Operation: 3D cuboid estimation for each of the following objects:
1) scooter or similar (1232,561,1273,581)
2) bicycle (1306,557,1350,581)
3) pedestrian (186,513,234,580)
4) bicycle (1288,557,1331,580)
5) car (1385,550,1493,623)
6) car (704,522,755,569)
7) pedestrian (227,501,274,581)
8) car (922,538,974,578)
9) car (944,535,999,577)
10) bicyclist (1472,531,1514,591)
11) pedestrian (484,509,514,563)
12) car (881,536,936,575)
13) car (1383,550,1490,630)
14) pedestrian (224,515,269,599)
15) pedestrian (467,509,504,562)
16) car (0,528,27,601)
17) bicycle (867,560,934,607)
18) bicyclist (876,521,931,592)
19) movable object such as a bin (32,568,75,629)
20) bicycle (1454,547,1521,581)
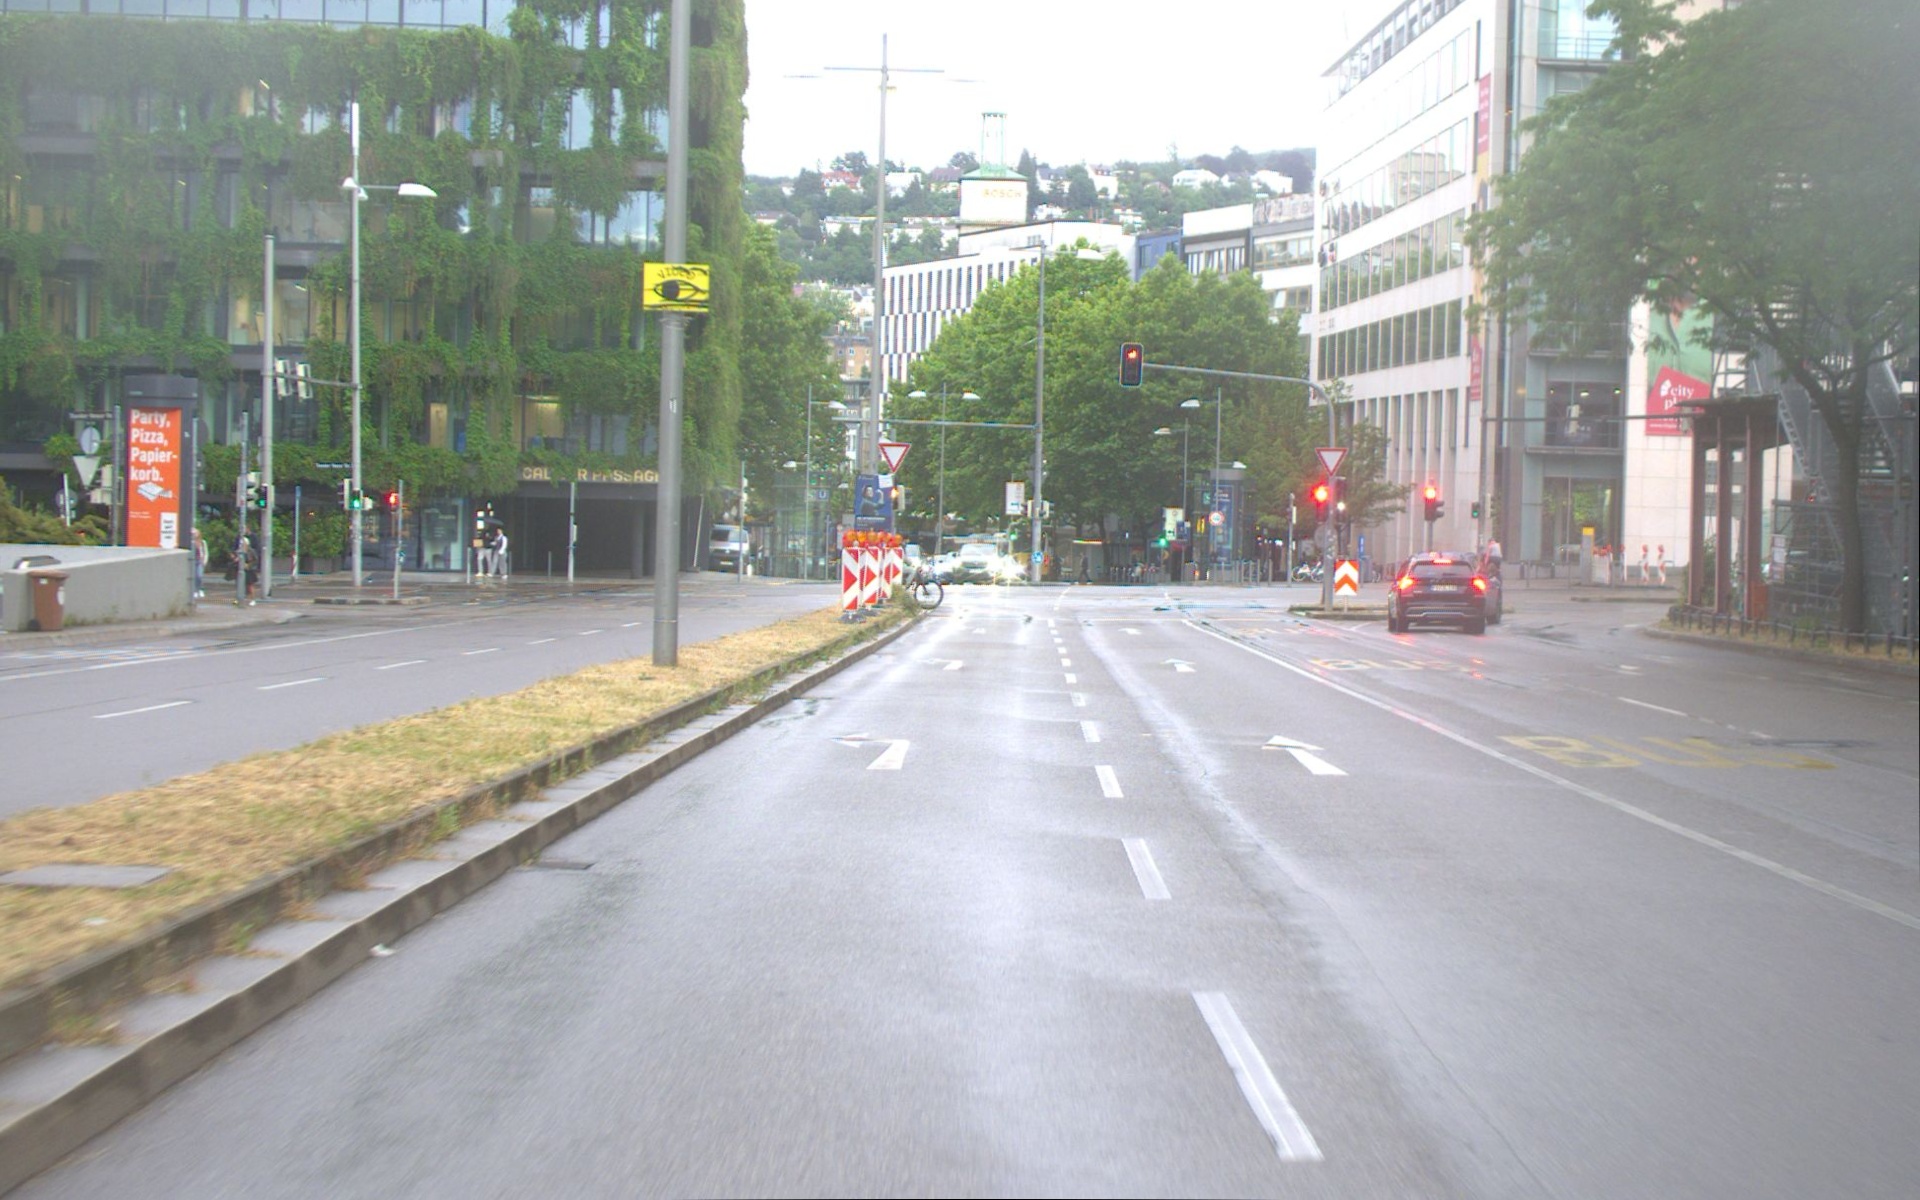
[{"bbox_3d":[12.910,-1.263,151.819,1.745,0.875,0.489,0,1,-17],"label":"scooter or similar"},{"bbox_3d":[15.285,-1.285,142.755,1.795,0.931,0.475,1,1,5],"label":"bicycle"},{"bbox_3d":[-18.341,-1.316,84.074,0.919,1.580,0.834,-3,1,-3],"label":"pedestrian"},{"bbox_3d":[14.698,-1.316,144.625,1.795,0.931,0.475,1,1,5],"label":"bicycle"},{"bbox_3d":[10.645,-0.317,76.197,1.705,1.524,4.423,1,1,17],"label":"car"},{"bbox_3d":[-9.433,-2.232,141.015,1.993,1.888,4.466,1,1,-3],"label":"car"},{"bbox_3d":[-17.317,-1.440,83.917,0.895,1.879,0.787,-3,1,-3],"label":"pedestrian"},{"bbox_3d":[-0.593,-2.030,164.935,2.175,1.817,4.645,1,1,-4],"label":"car"},{"bbox_3d":[0.467,-1.688,130.625,1.993,1.545,4.556,1,1,1],"label":"car"},{"bbox_3d":[17.804,-1.297,114.837,0.791,1.968,1.114,0,1,-39],"label":"bicyclist"},{"bbox_3d":[-15.282,-2.119,114.024,0.741,1.752,0.976,0,1,-22],"label":"pedestrian"},{"bbox_3d":[-2.060,-1.795,136.812,1.856,1.443,4.622,1,2,-5],"label":"car"},{"bbox_3d":[9.530,-0.229,69.009,1.778,1.534,4.146,1,1,4],"label":"car"},{"bbox_3d":[-16.389,-0.982,78.962,0.805,1.879,0.866,-3,1,-5],"label":"pedestrian"},{"bbox_3d":[-15.736,-2.131,113.928,0.935,1.752,1.172,0,1,-22],"label":"pedestrian"},{"bbox_3d":[-26.473,-0.968,90.717,3.448,1.915,2.001,1,1,-11],"label":"car"},{"bbox_3d":[-1.415,-0.402,82.453,0.846,1.099,2.150,1,1,21],"label":"bicycle"},{"bbox_3d":[-1.354,-1.045,82.511,0.846,1.698,1.297,1,1,22],"label":"bicyclist"},{"bbox_3d":[-13.779,-0.026,52.266,0.531,0.894,0.682,-1,1,-8],"label":"movable object such as a bin"},{"bbox_3d":[17.646,-1.207,115.014,0.791,1.113,2.255,0,1,-39],"label":"bicycle"}]
